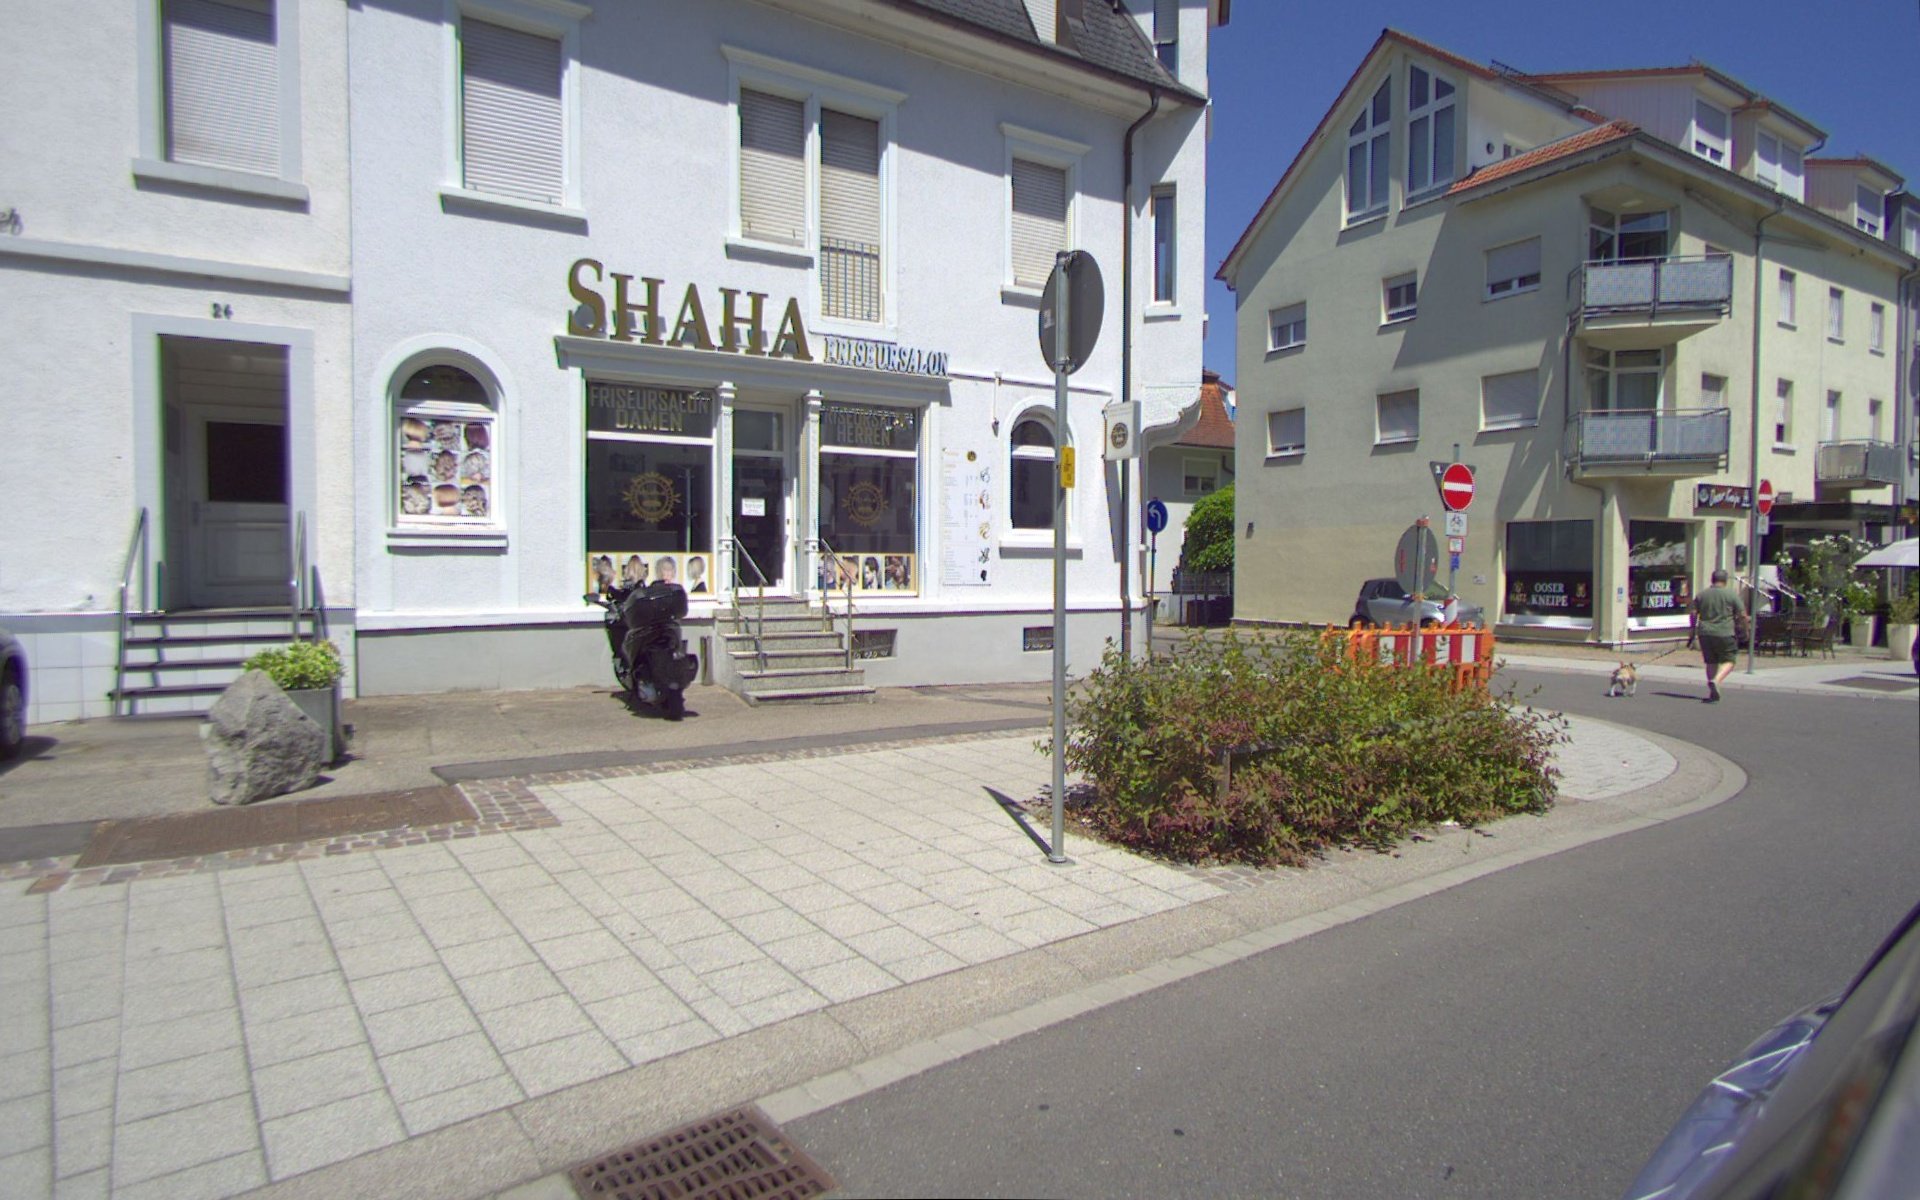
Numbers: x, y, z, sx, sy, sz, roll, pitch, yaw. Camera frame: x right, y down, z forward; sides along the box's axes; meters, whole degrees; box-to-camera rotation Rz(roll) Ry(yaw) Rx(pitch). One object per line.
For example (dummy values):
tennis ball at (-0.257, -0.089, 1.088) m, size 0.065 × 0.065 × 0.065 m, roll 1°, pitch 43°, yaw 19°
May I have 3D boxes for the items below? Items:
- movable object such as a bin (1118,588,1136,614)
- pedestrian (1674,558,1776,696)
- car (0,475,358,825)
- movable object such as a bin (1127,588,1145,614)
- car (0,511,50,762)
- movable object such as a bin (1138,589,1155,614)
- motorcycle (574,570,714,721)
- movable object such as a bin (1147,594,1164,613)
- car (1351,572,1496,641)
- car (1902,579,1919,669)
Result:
movable object such as a bin at (6.633, 0.052, 40.226) m, size 0.502 × 1.024 × 0.463 m, roll 1°, pitch 1°, yaw -32°
pedestrian at (10.458, 0.352, 13.842) m, size 0.826 × 1.819 × 0.750 m, roll 1°, pitch 1°, yaw -22°
car at (-5.315, 0.226, 7.087) m, size 1.819 × 1.737 × 4.092 m, roll -1°, pitch 1°, yaw -30°
movable object such as a bin at (7.063, 0.031, 40.517) m, size 0.507 × 1.024 × 0.463 m, roll 1°, pitch 1°, yaw -32°
car at (-7.008, 0.270, 5.818) m, size 1.819 × 1.737 × 4.092 m, roll -1°, pitch 1°, yaw -30°
movable object such as a bin at (7.511, 0.061, 40.804) m, size 0.454 × 1.024 × 0.463 m, roll 1°, pitch 1°, yaw -32°
motorcycle at (-3.154, 0.370, 9.921) m, size 0.839 × 1.291 × 2.387 m, roll 0°, pitch 1°, yaw -29°
movable object such as a bin at (7.921, 0.141, 41.038) m, size 0.447 × 0.783 × 0.463 m, roll 1°, pitch 1°, yaw -32°
car at (10.901, 0.111, 23.930) m, size 1.500 × 1.489 × 2.739 m, roll -2°, pitch 2°, yaw -29°
car at (18.190, 0.441, 16.954) m, size 3.780 × 1.509 × 1.883 m, roll 0°, pitch 3°, yaw -18°
